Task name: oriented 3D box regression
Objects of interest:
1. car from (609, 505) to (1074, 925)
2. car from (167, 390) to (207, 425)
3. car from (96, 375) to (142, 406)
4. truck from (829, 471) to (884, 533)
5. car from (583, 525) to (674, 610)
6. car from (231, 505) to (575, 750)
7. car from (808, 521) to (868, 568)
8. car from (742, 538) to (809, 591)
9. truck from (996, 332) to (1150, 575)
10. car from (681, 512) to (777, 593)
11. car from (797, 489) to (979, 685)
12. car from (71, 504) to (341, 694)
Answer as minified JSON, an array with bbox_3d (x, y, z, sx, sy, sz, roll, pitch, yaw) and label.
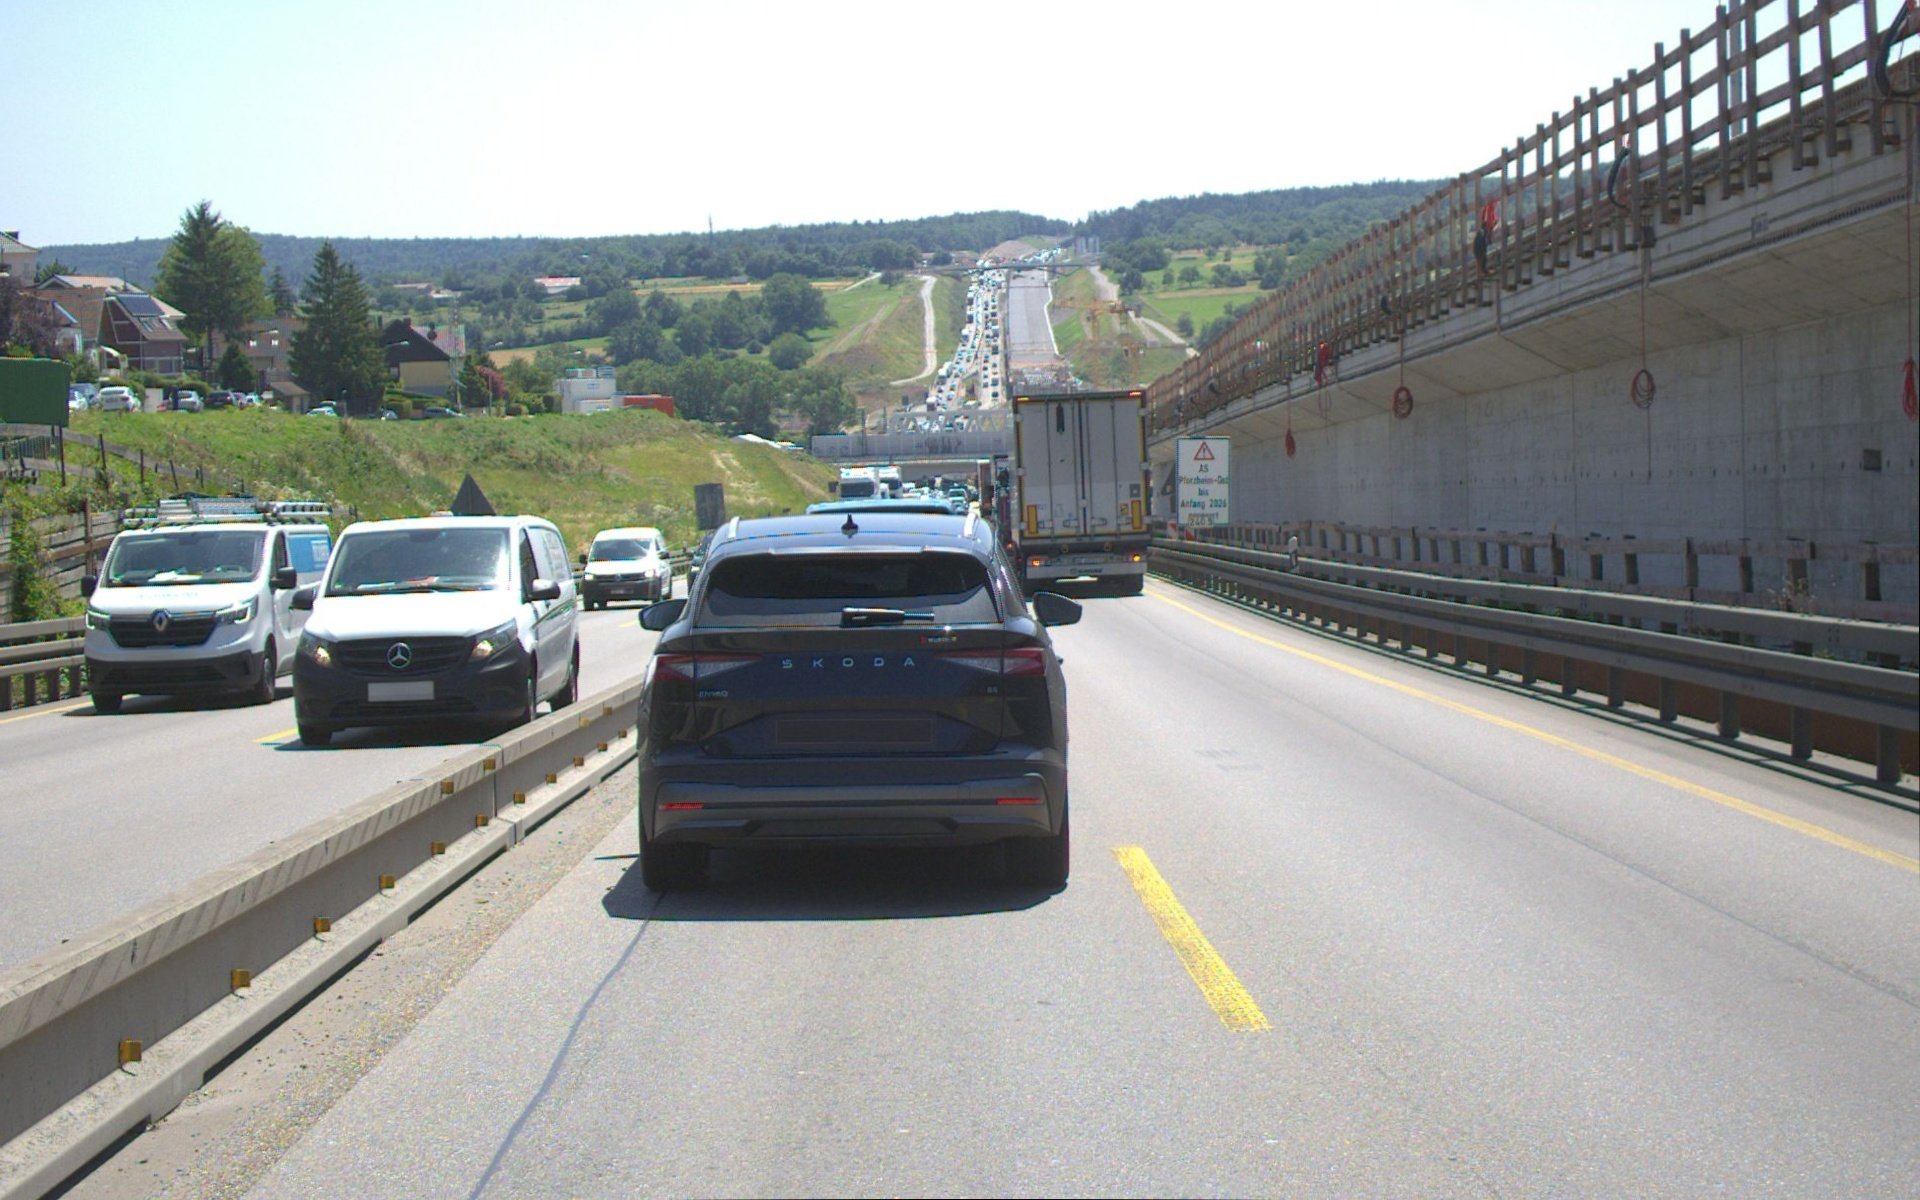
[{"bbox_3d":[-0.500,0.419,15.507,1.782,1.592,3.755,-2,1,-1],"label":"car"},{"bbox_3d":[-42.816,-10.659,190.411,1.924,1.722,4.001,-3,1,-10],"label":"car"},{"bbox_3d":[-41.681,-10.394,170.508,1.993,1.315,4.001,1,1,-11],"label":"car"},{"bbox_3d":[-7.543,-7.089,250.039,3.179,4.223,6.486,-2,1,-8],"label":"truck"},{"bbox_3d":[-7.619,-0.754,79.324,1.596,1.827,4.753,-2,1,0],"label":"car"},{"bbox_3d":[-4.679,0.189,29.716,2.157,1.899,5.326,-1,1,-1],"label":"car"},{"bbox_3d":[-4.174,-1.882,118.462,1.606,1.441,4.669,-5,0,2],"label":"car"},{"bbox_3d":[-5.194,-0.999,97.115,1.732,1.433,4.259,0,1,-1],"label":"car"},{"bbox_3d":[2.245,-2.881,72.170,2.846,4.599,11.811,-2,1,1],"label":"truck"},{"bbox_3d":[-4.867,-1.025,72.825,1.774,1.628,4.100,-1,1,-1],"label":"car"},{"bbox_3d":[-0.767,-0.160,34.978,1.749,1.888,3.756,0,1,-2],"label":"car"},{"bbox_3d":[-8.166,-0.067,37.724,1.825,1.919,5.244,-1,1,0],"label":"car"}]
